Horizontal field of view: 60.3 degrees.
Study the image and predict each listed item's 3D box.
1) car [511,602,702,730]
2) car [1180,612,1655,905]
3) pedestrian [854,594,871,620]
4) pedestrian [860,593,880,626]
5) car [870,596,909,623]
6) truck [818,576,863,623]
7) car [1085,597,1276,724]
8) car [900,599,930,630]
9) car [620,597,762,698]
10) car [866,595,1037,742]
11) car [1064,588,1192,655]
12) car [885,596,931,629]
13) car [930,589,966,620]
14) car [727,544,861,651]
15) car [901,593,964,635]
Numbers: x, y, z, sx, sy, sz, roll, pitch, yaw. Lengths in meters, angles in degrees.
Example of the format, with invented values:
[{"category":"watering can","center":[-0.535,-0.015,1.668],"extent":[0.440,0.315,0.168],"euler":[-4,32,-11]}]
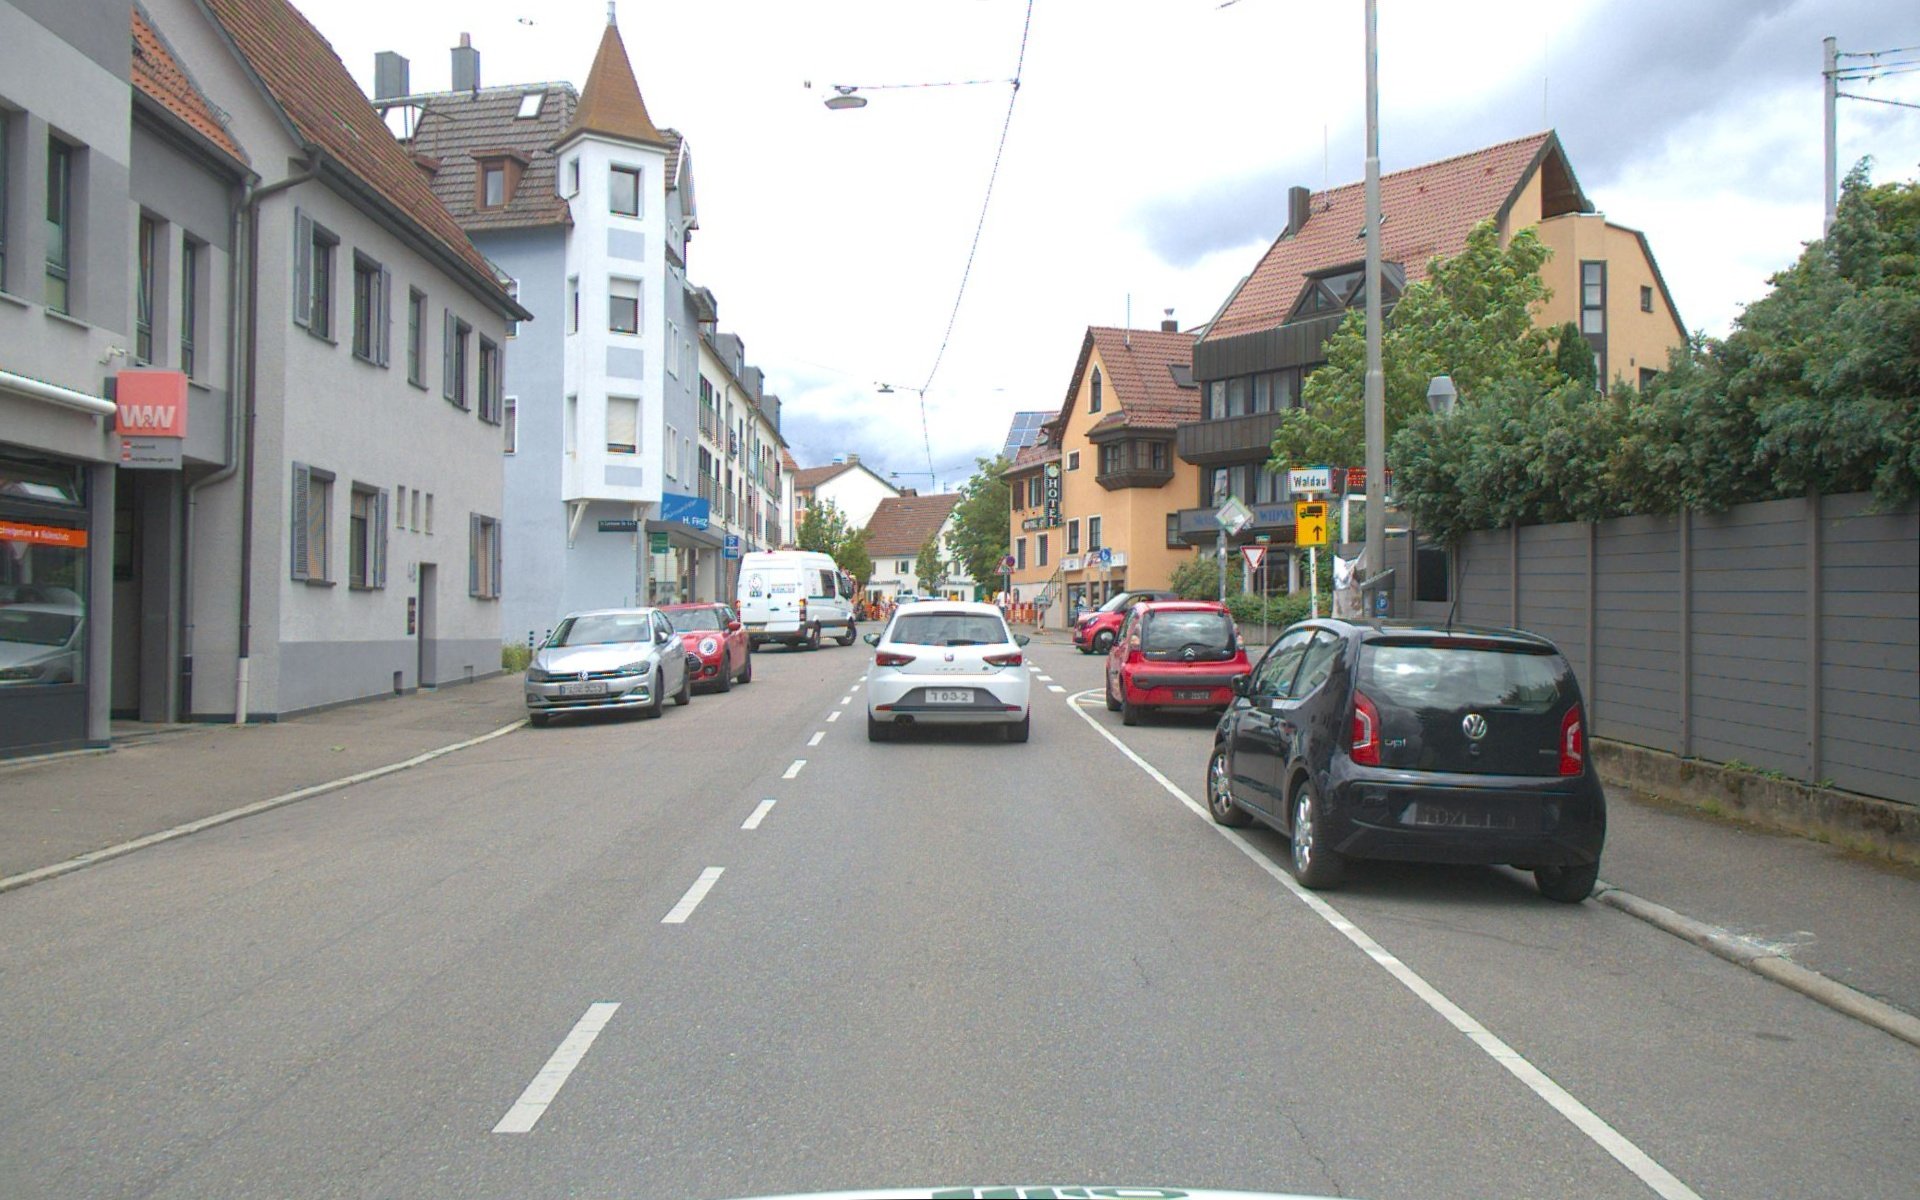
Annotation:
[{"category":"car","center":[-4.747,0.831,22.754],"extent":[1.763,1.505,4.050],"euler":[-3,0,-1]},{"category":"car","center":[2.640,0.829,10.553],"extent":[1.723,1.477,3.997],"euler":[0,0,-4]},{"category":"pedestrian","center":[-6.058,0.419,102.661],"extent":[0.953,1.603,0.907],"euler":[1,-1,-1]},{"category":"pedestrian","center":[-5.676,0.609,104.757],"extent":[1.203,2.049,1.175],"euler":[0,0,0]},{"category":"car","center":[-4.670,0.635,110.213],"extent":[1.756,1.731,4.003],"euler":[0,0,10]},{"category":"truck","center":[-6.746,-0.046,93.910],"extent":[2.108,2.502,5.394],"euler":[1,0,0]},{"category":"car","center":[2.744,0.713,21.409],"extent":[1.723,1.477,3.997],"euler":[0,0,-4]},{"category":"car","center":[-2.740,0.850,102.016],"extent":[1.757,1.862,4.000],"euler":[0,0,0]},{"category":"car","center":[-4.503,0.753,28.227],"extent":[1.763,1.505,4.050],"euler":[-3,0,-1]},{"category":"car","center":[-0.100,0.690,18.622],"extent":[1.722,1.477,3.999],"euler":[0,0,-1]},{"category":"car","center":[4.156,0.518,41.068],"extent":[2.758,1.539,1.704],"euler":[1,1,-12]},{"category":"car","center":[-2.401,0.575,75.665],"extent":[1.725,1.477,3.993],"euler":[0,0,-8]},{"category":"car","center":[-0.575,0.209,81.444],"extent":[1.726,1.524,3.788],"euler":[0,0,-1]},{"category":"car","center":[-4.482,-0.076,45.722],"extent":[2.106,2.734,5.549],"euler":[1,0,12]},{"category":"car","center":[-1.044,0.490,59.959],"extent":[1.726,1.477,3.991],"euler":[0,0,-10]}]
